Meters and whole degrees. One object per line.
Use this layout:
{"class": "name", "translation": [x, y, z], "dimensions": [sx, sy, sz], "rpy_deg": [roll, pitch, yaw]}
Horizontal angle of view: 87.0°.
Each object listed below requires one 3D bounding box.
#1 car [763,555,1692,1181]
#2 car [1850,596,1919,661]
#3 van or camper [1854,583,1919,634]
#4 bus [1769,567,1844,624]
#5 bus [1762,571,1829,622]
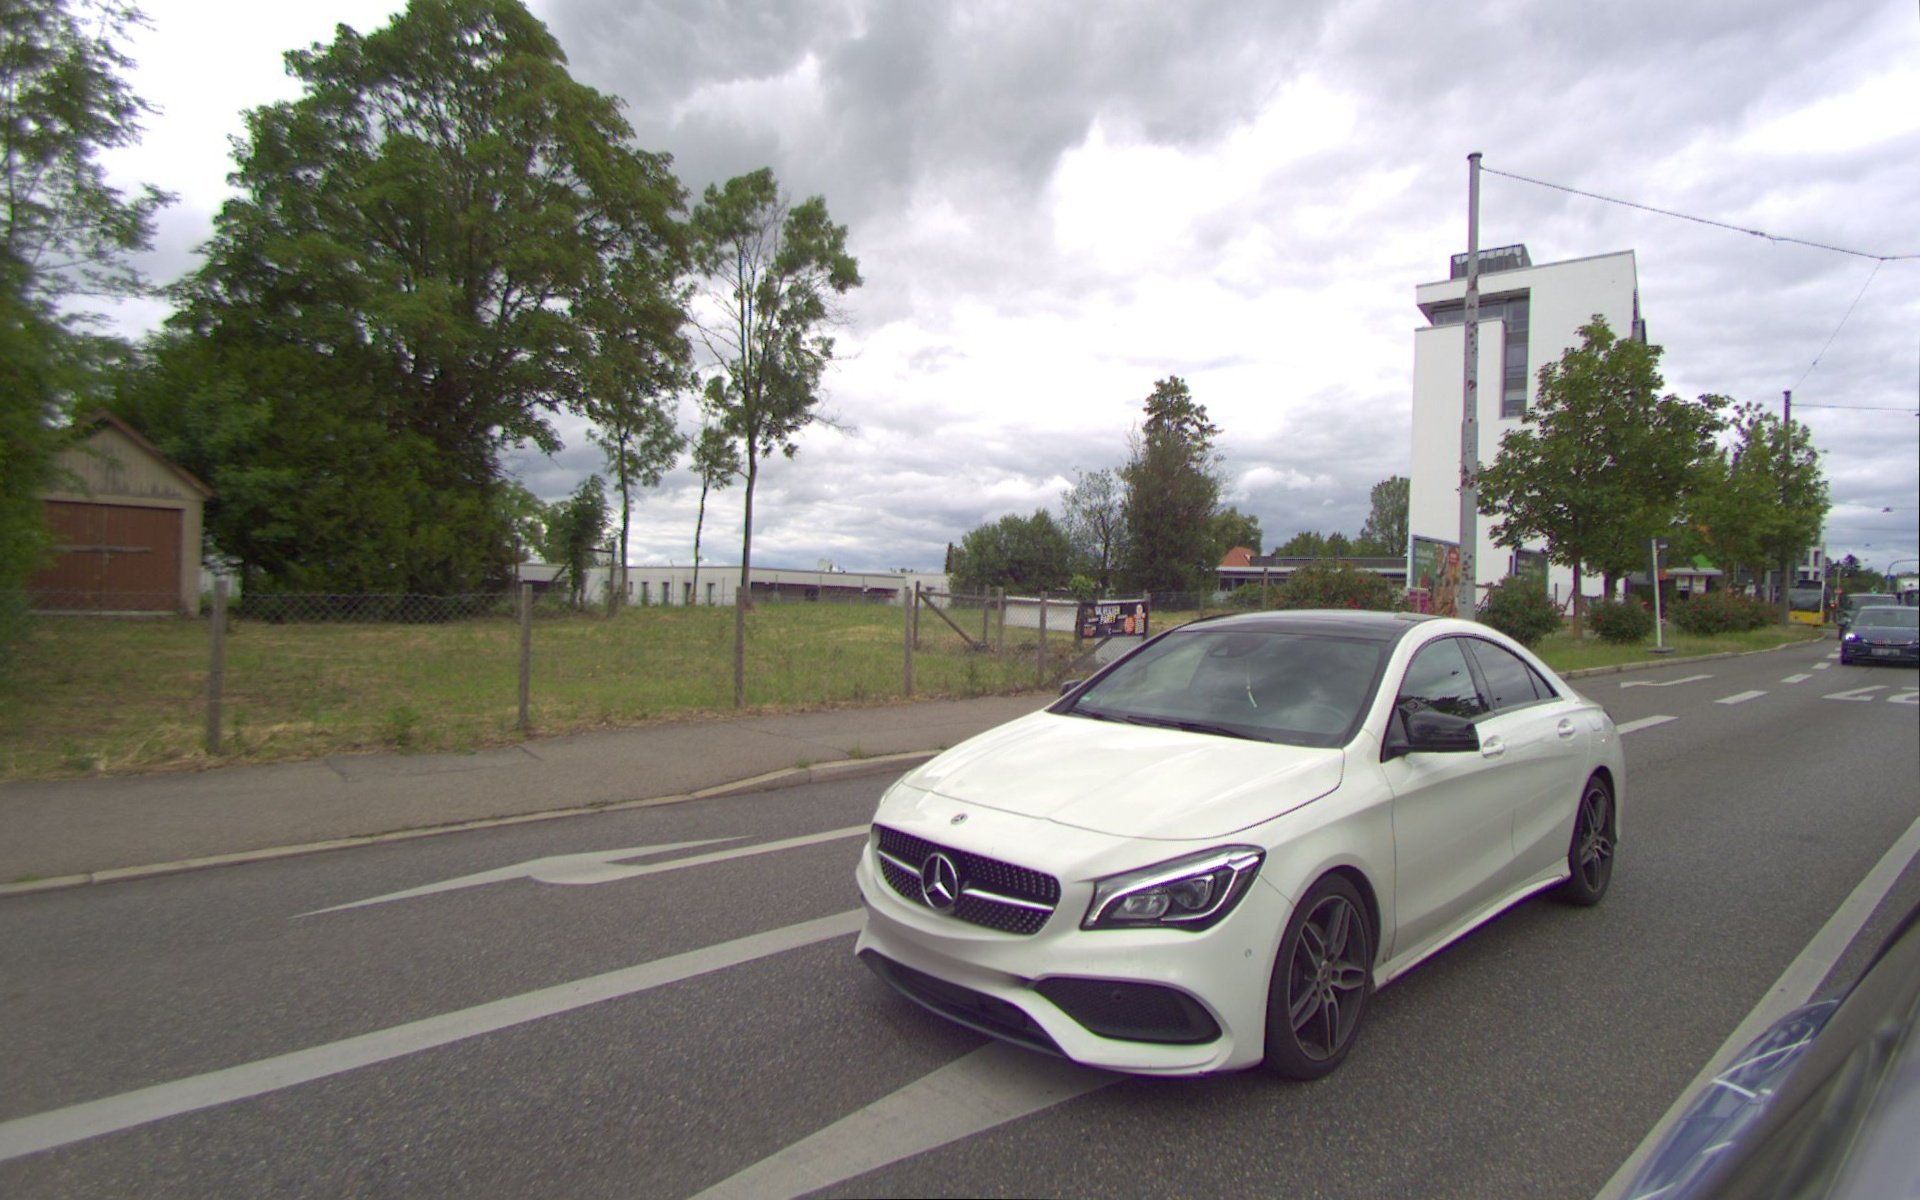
{"class": "car", "translation": [1.620, 0.625, 4.720], "dimensions": [4.690, 1.524, 1.871], "rpy_deg": [-1, 0, -41]}
{"class": "car", "translation": [23.576, 0.667, 25.339], "dimensions": [1.731, 1.501, 4.298], "rpy_deg": [0, 0, 44]}
{"class": "van or camper", "translation": [37.450, 0.332, 40.623], "dimensions": [4.764, 1.902, 1.807], "rpy_deg": [1, 0, -41]}
{"class": "bus", "translation": [53.059, -0.273, 63.638], "dimensions": [2.975, 3.282, 9.734], "rpy_deg": [1, 0, 37]}
{"class": "bus", "translation": [58.545, -0.204, 71.086], "dimensions": [3.028, 3.276, 9.214], "rpy_deg": [2, 1, 36]}
